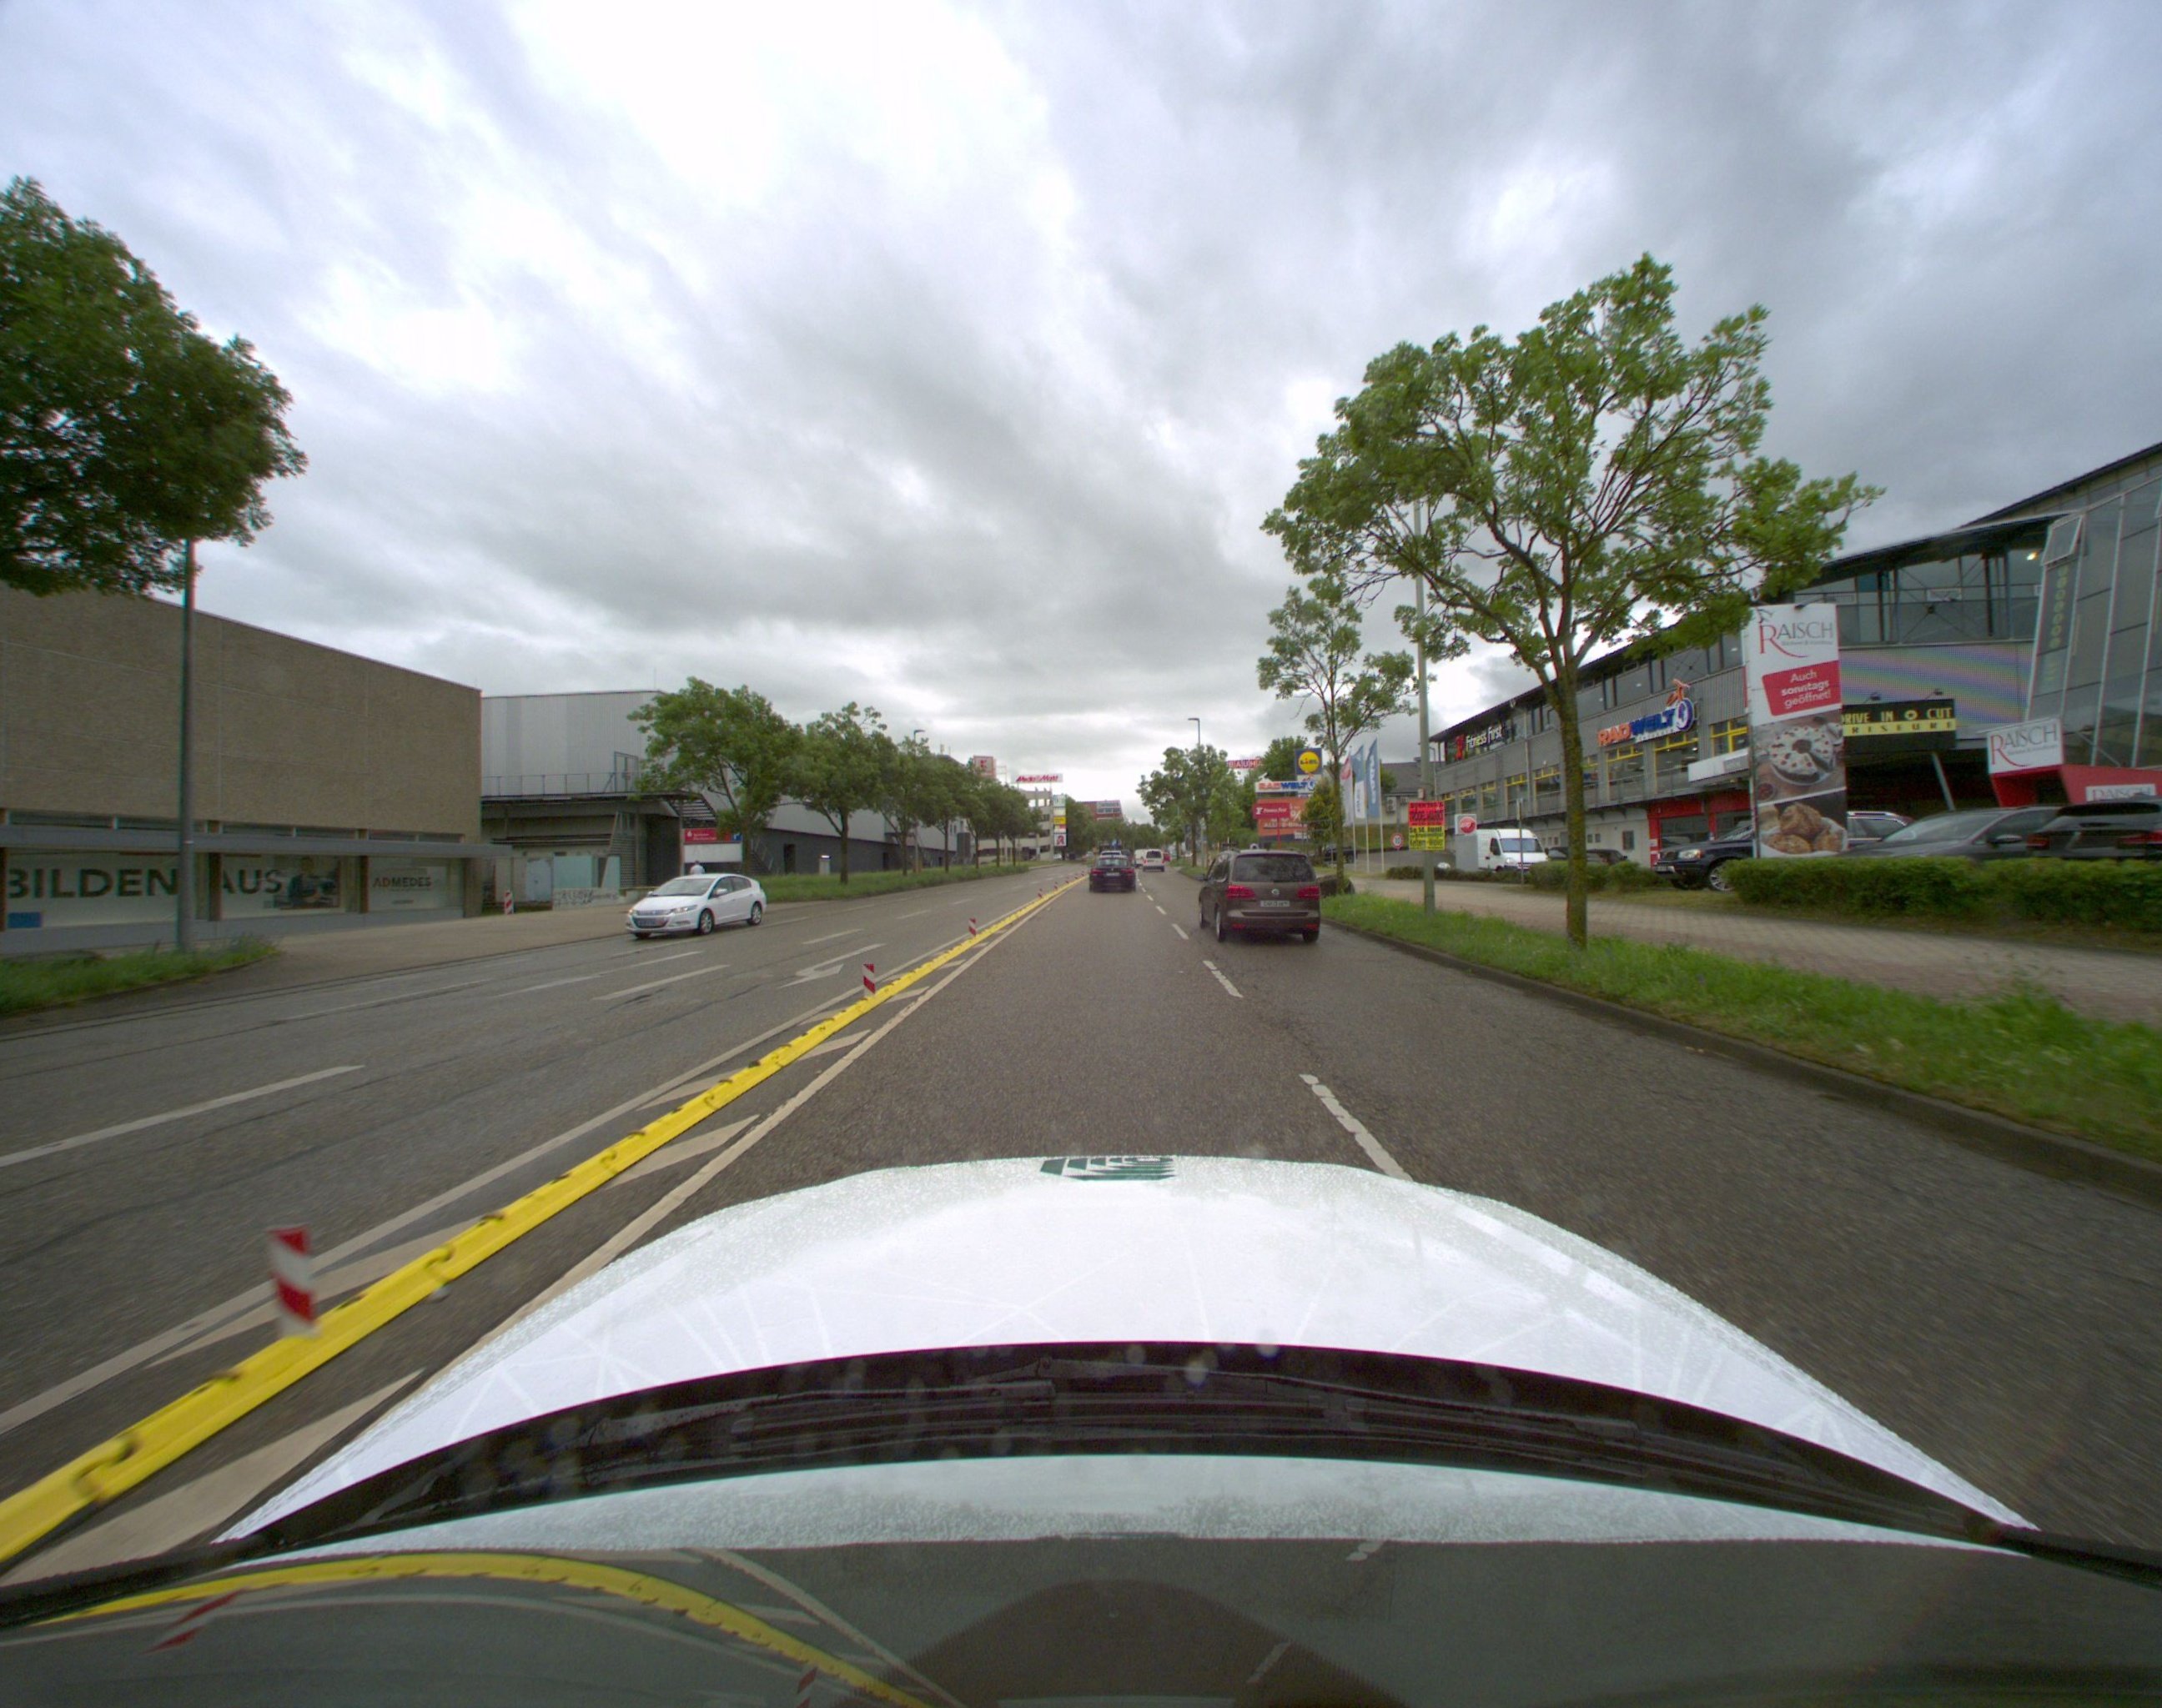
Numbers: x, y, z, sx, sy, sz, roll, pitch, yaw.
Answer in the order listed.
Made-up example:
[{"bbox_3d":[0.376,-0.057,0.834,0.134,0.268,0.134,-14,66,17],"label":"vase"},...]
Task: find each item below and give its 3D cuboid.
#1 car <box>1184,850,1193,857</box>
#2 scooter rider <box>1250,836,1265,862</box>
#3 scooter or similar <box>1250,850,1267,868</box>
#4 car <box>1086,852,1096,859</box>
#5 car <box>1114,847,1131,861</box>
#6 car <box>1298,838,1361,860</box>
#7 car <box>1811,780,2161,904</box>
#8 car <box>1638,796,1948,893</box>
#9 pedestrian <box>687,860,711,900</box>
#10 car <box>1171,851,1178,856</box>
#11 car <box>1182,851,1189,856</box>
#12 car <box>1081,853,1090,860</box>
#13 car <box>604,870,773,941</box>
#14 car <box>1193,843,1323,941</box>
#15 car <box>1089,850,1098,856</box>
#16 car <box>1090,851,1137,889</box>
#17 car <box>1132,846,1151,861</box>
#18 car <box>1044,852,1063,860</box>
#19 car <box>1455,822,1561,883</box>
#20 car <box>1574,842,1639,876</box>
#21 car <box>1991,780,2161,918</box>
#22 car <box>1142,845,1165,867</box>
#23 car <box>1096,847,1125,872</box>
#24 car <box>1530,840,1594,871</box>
[{"bbox_3d":[22.675,-0.057,172.315,1.785,1.510,4.006,0,0,5],"label":"car"},{"bbox_3d":[12.822,-0.372,59.159,0.695,1.820,0.855,-4,1,-10],"label":"scooter rider"},{"bbox_3d":[12.874,0.343,59.136,0.695,1.263,1.396,-4,1,-10],"label":"scooter or similar"},{"bbox_3d":[2.614,0.289,216.923,2.029,1.762,4.955,-1,1,6],"label":"car"},{"bbox_3d":[4.632,0.014,91.139,1.787,1.510,4.002,0,0,2],"label":"car"},{"bbox_3d":[18.486,-0.373,60.614,4.091,1.438,1.791,-2,2,-10],"label":"car"},{"bbox_3d":[15.004,-0.195,13.376,4.148,1.601,1.831,-5,0,5],"label":"car"},{"bbox_3d":[15.160,-0.181,17.649,4.624,1.601,1.933,-5,0,12],"label":"car"},{"bbox_3d":[-15.515,1.057,33.071,0.581,1.583,0.768,0,0,5],"label":"pedestrian"},{"bbox_3d":[25.789,-0.167,225.320,1.785,1.510,4.006,0,0,5],"label":"car"},{"bbox_3d":[30.042,-0.093,234.441,1.785,1.510,4.006,0,0,5],"label":"car"},{"bbox_3d":[1.129,0.702,202.539,1.924,1.608,4.718,-1,1,4],"label":"car"},{"bbox_3d":[-9.499,1.187,20.170,1.733,1.406,4.473,-3,-1,3],"label":"car"},{"bbox_3d":[3.167,0.620,15.371,1.679,1.581,4.220,0,0,2],"label":"car"},{"bbox_3d":[3.721,-0.349,237.829,2.126,1.773,4.618,-1,1,7],"label":"car"},{"bbox_3d":[1.329,0.614,33.392,1.820,1.468,4.002,0,0,2],"label":"car"},{"bbox_3d":[5.980,-0.020,81.036,1.786,1.510,4.004,0,0,3],"label":"car"},{"bbox_3d":[-7.066,0.536,208.163,4.582,1.745,1.968,-1,1,1],"label":"car"},{"bbox_3d":[19.177,-0.109,36.911,2.216,2.536,5.688,0,1,5],"label":"car"},{"bbox_3d":[26.528,0.193,41.066,4.284,1.470,1.762,-3,3,-43],"label":"car"},{"bbox_3d":[14.831,-0.214,10.369,4.148,1.601,1.803,-5,0,5],"label":"car"},{"bbox_3d":[5.907,0.146,66.993,1.819,1.759,4.005,0,0,4],"label":"car"},{"bbox_3d":[1.931,0.359,52.196,1.787,1.510,4.003,0,0,3],"label":"car"},{"bbox_3d":[26.020,0.022,44.028,4.283,1.470,1.719,-3,3,-41],"label":"car"}]
